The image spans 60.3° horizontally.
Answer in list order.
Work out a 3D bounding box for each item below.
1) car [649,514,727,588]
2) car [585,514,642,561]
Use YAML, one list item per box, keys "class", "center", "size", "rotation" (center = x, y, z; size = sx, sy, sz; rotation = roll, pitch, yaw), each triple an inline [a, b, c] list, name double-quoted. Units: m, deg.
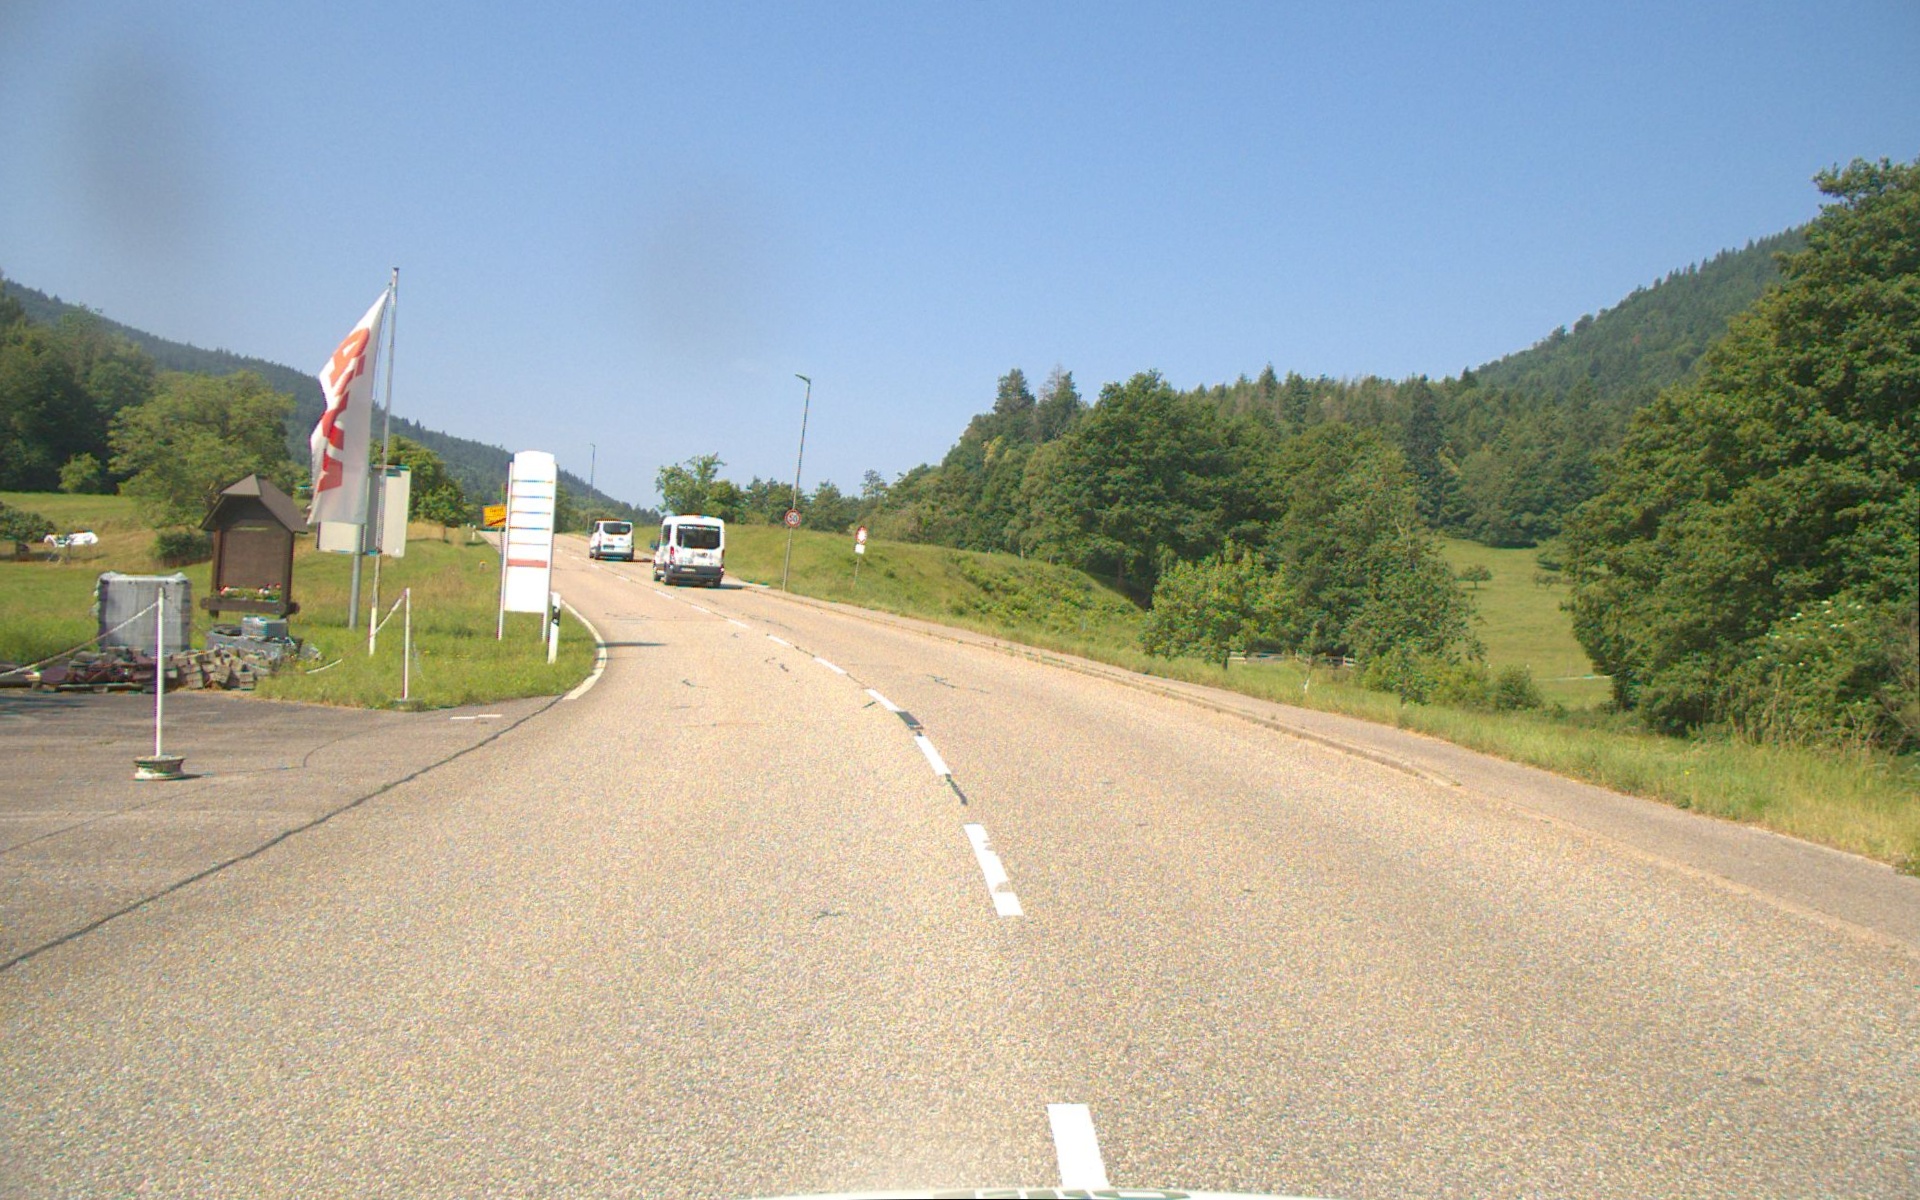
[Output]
- class: "car"
  center: [-9.955, -1.747, 60.220]
  size: [2.187, 2.569, 4.961]
  rotation: [0, 1, -17]
- class: "car"
  center: [-17.940, -3.197, 85.557]
  size: [2.190, 2.326, 4.954]
  rotation: [0, 1, -20]
